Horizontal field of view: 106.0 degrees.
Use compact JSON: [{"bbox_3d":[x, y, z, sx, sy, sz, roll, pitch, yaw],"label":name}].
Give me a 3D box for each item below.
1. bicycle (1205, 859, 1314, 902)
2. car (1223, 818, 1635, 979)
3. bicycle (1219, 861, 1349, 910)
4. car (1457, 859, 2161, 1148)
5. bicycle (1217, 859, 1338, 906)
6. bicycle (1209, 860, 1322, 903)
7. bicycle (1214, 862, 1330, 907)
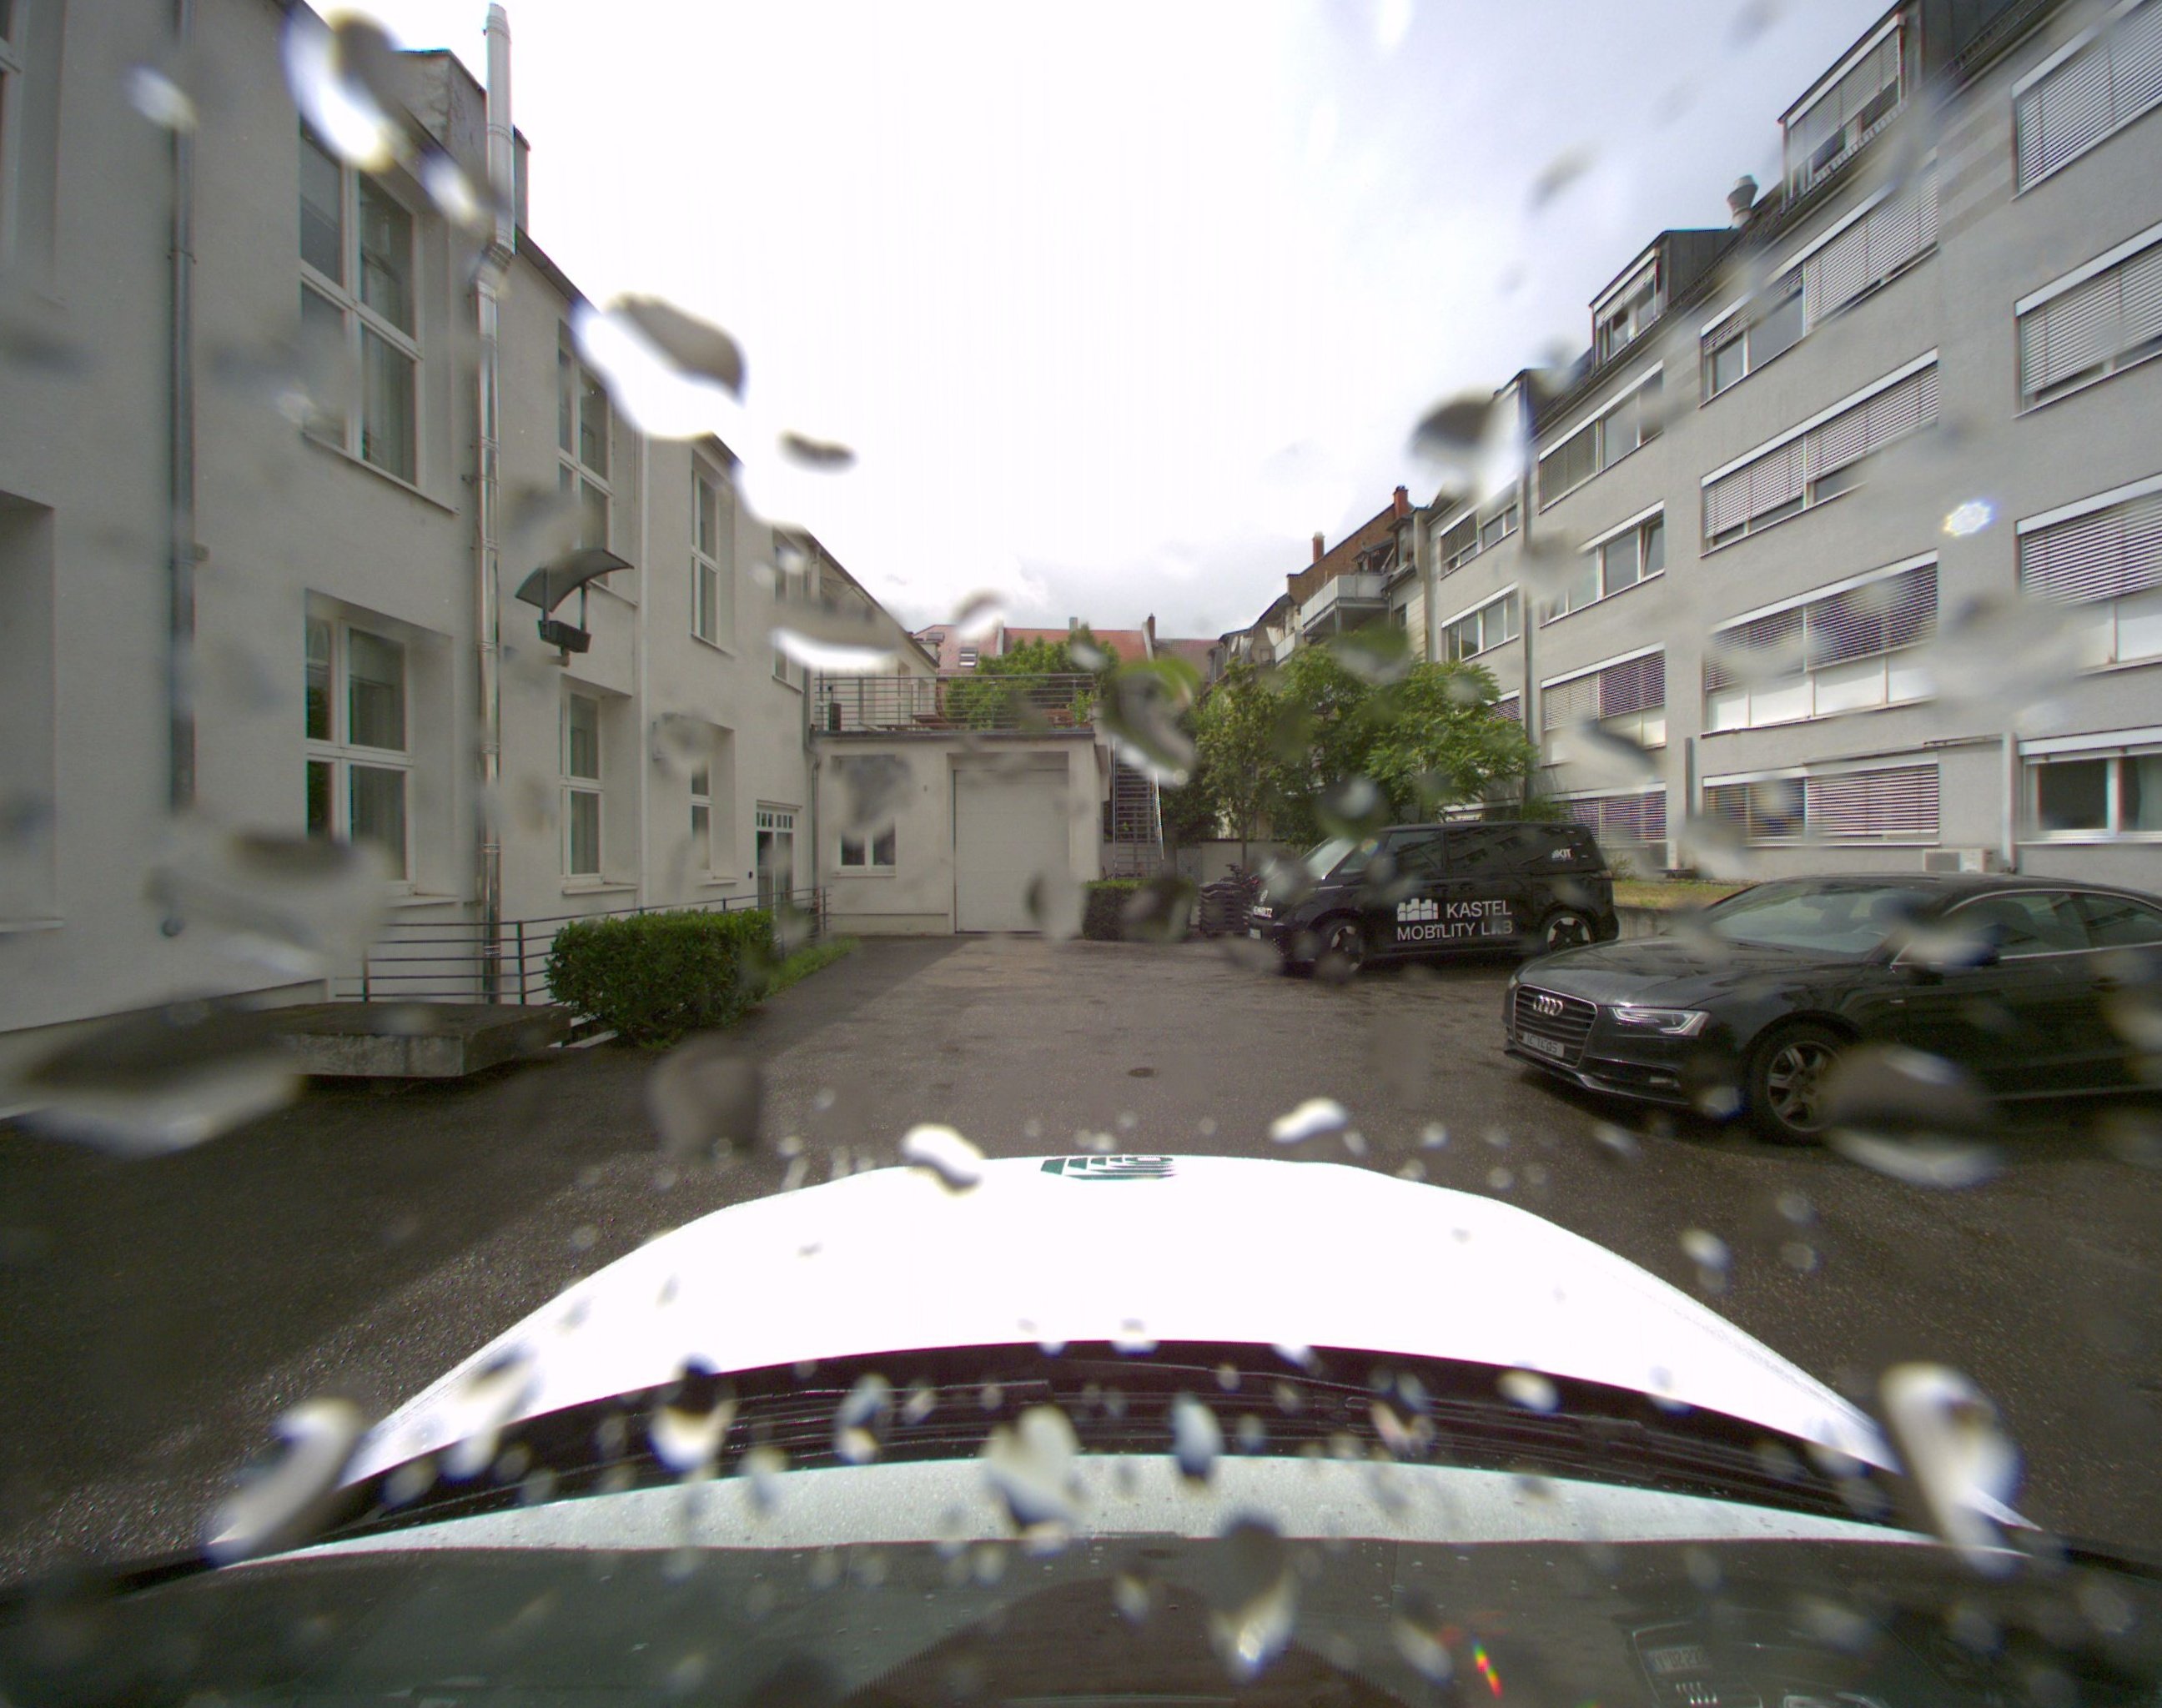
[{"bbox_3d":[4.902,0.721,22.429,2.835,1.078,0.689,1,1,-1],"label":"bicycle"},{"bbox_3d":[4.510,0.528,11.053,4.701,1.833,2.107,-2,0,-5],"label":"car"},{"bbox_3d":[4.810,0.733,19.397,2.914,1.078,0.689,1,1,-1],"label":"bicycle"},{"bbox_3d":[4.990,0.763,5.224,4.346,1.348,1.857,-1,1,-5],"label":"car"},{"bbox_3d":[4.862,0.702,20.284,2.835,1.078,0.689,1,1,-1],"label":"bicycle"},{"bbox_3d":[4.903,0.728,21.724,2.835,1.078,0.689,1,1,-1],"label":"bicycle"},{"bbox_3d":[4.902,0.779,21.009,2.835,1.078,0.689,1,1,-1],"label":"bicycle"}]
